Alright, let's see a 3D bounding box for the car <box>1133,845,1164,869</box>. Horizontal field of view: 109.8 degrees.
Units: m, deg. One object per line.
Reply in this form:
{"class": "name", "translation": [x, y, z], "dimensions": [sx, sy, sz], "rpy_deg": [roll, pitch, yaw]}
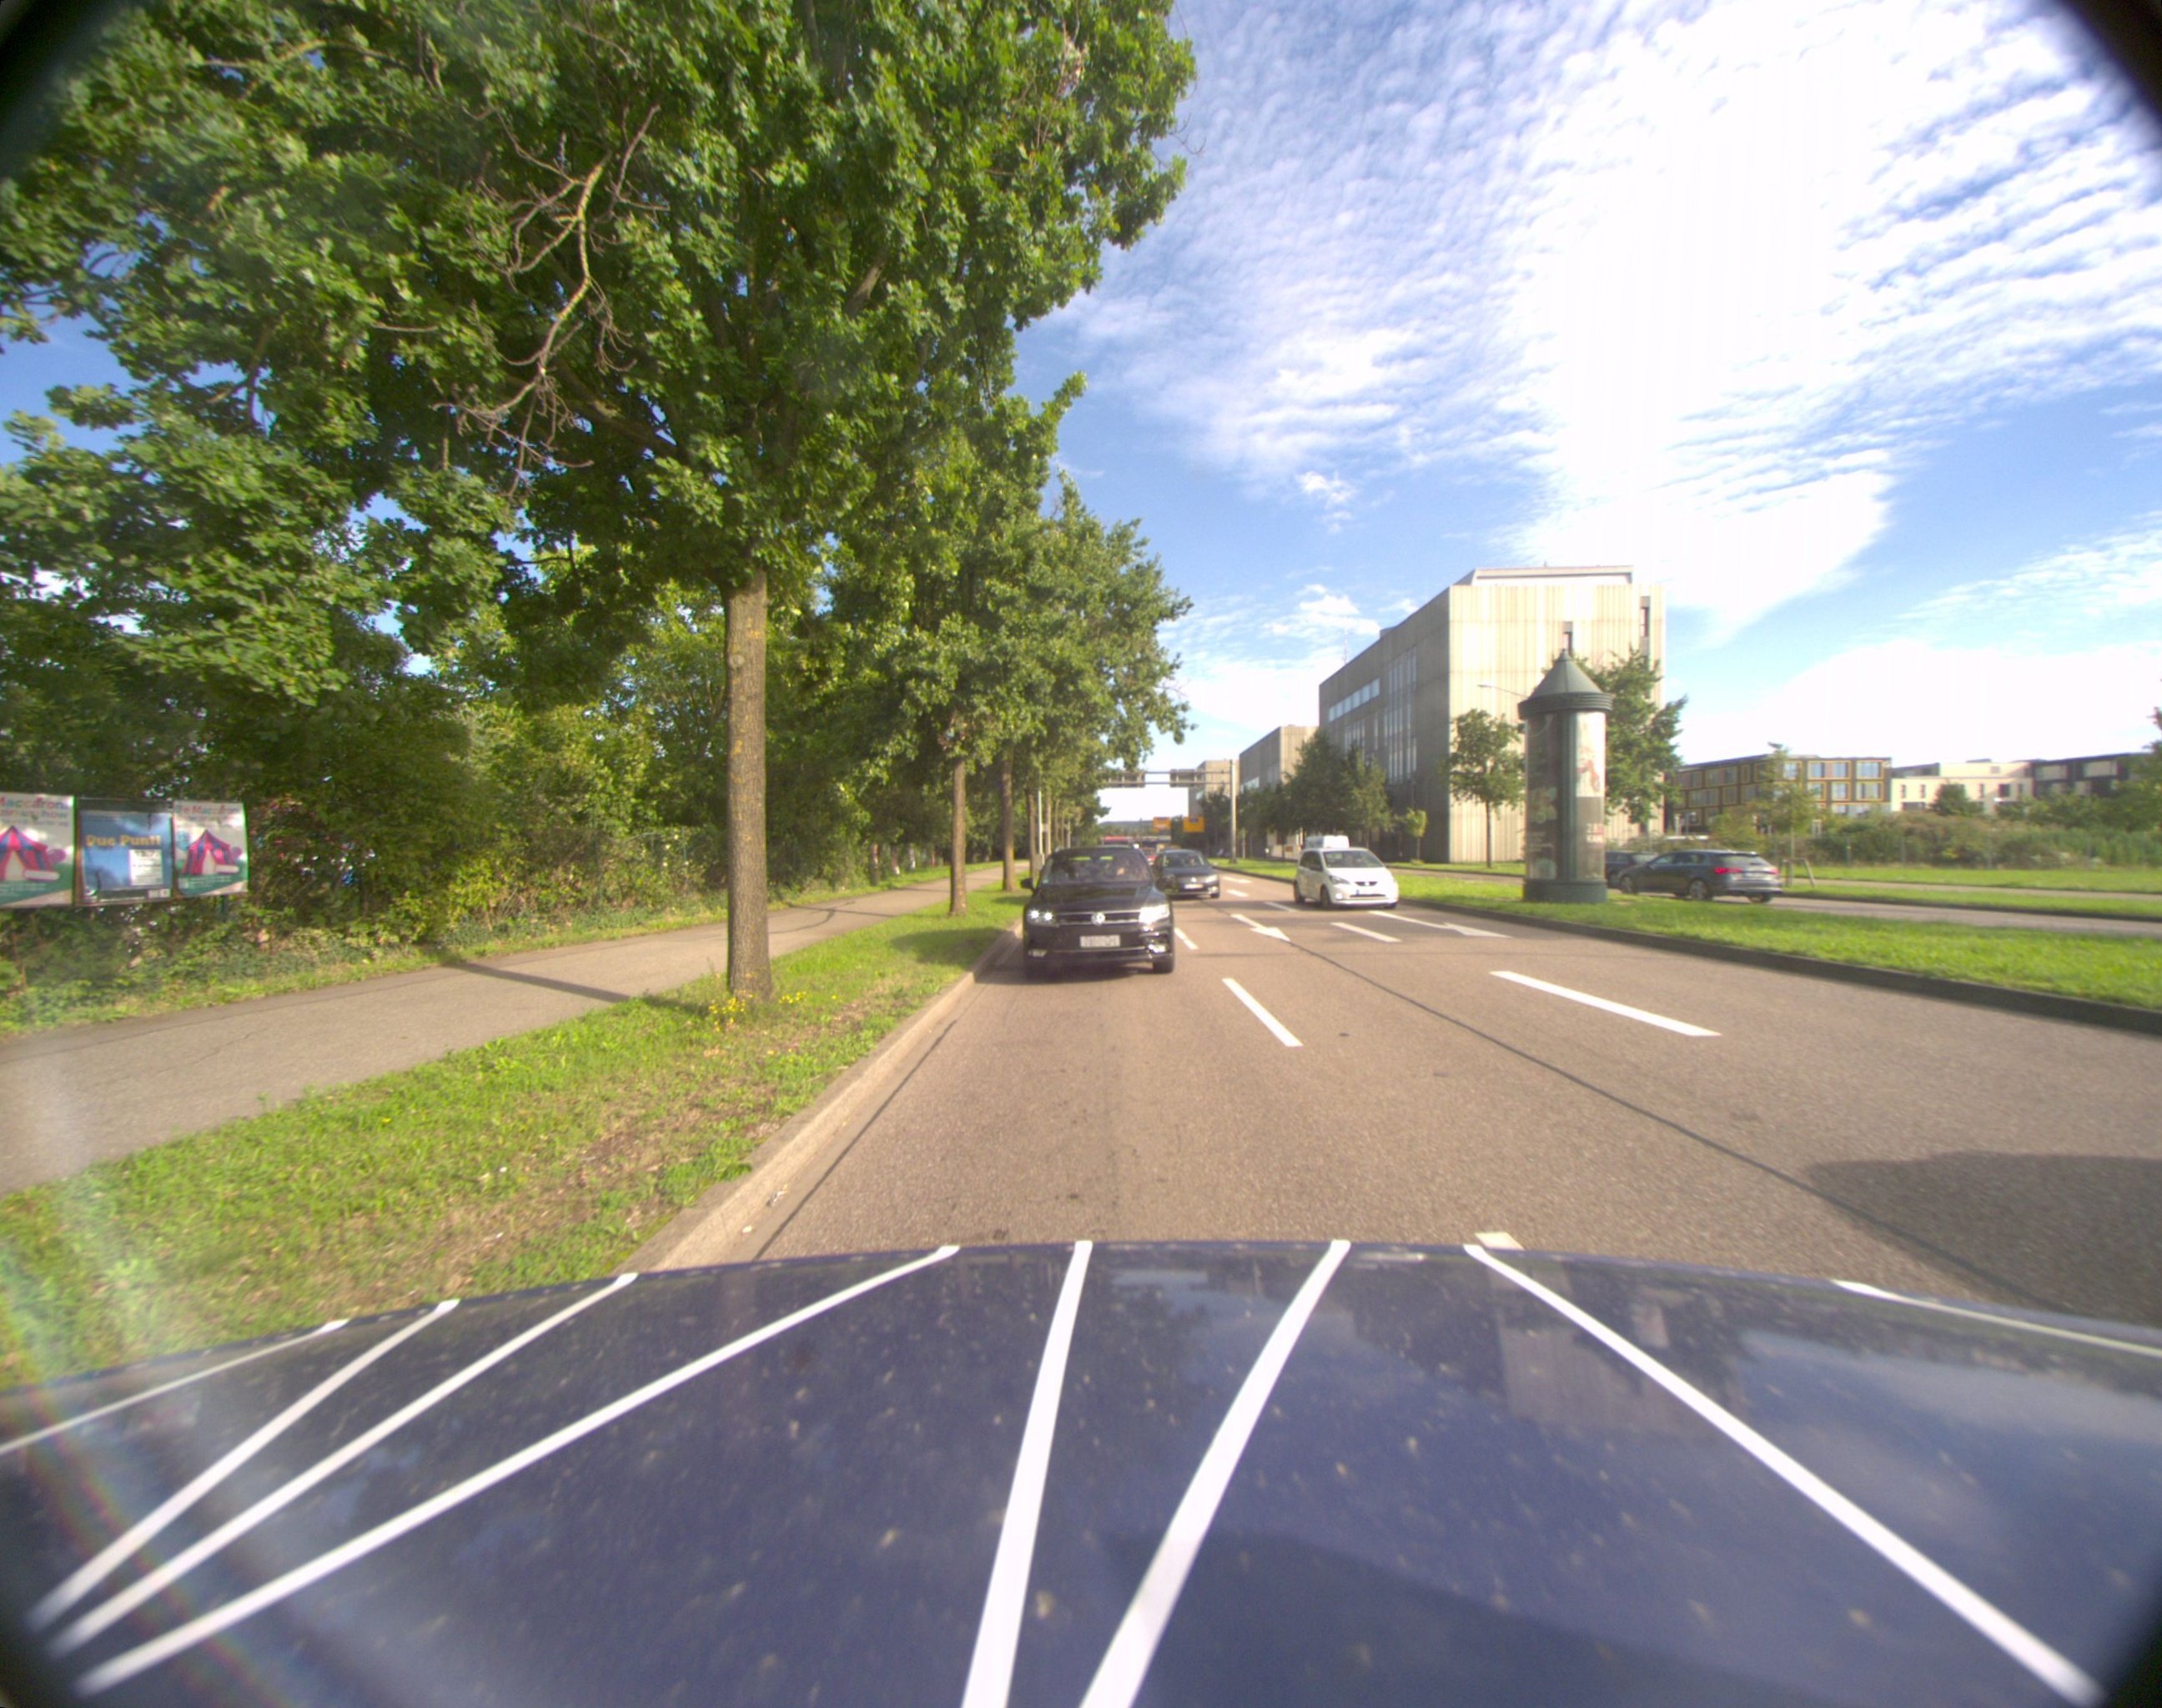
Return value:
{"class": "car", "translation": [4.613, 0.199, 52.567], "dimensions": [1.694, 1.466, 4.225], "rpy_deg": [-2, 2, 0]}

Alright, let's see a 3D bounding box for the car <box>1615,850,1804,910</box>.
{"class": "car", "translation": [17.179, 0.633, 21.070], "dimensions": [1.855, 1.425, 4.068], "rpy_deg": [2, 1, 1]}

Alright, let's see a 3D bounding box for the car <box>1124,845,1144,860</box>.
{"class": "car", "translation": [5.718, -0.174, 82.274], "dimensions": [1.855, 1.456, 4.454], "rpy_deg": [-1, 1, 1]}

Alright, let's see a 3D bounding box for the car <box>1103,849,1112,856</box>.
{"class": "car", "translation": [4.953, -0.294, 142.212], "dimensions": [1.736, 1.381, 4.000], "rpy_deg": [0, 1, 1]}

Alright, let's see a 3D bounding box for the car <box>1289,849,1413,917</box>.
{"class": "car", "translation": [6.454, 0.632, 18.604], "dimensions": [1.766, 1.456, 3.660], "rpy_deg": [-1, 1, 1]}

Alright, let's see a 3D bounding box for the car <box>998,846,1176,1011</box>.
{"class": "car", "translation": [0.170, 0.787, 10.761], "dimensions": [1.871, 1.685, 5.015], "rpy_deg": [-2, 1, 2]}

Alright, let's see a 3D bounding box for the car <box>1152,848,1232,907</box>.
{"class": "car", "translation": [3.386, 0.655, 23.998], "dimensions": [1.998, 1.557, 4.845], "rpy_deg": [-3, 1, 3]}

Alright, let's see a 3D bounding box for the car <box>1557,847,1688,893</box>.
{"class": "car", "translation": [20.553, 0.546, 29.117], "dimensions": [1.855, 1.563, 4.454], "rpy_deg": [1, 1, 1]}

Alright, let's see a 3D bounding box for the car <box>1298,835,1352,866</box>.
{"class": "car", "translation": [18.217, -0.276, 57.033], "dimensions": [2.032, 2.241, 5.540], "rpy_deg": [1, 1, -2]}

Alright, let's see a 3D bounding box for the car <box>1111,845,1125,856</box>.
{"class": "car", "translation": [5.915, -0.529, 121.684], "dimensions": [1.998, 1.652, 4.803], "rpy_deg": [0, 1, 1]}

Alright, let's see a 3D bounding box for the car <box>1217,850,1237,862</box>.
{"class": "car", "translation": [19.424, 0.252, 101.449], "dimensions": [1.855, 1.456, 4.454], "rpy_deg": [-1, 1, 1]}
